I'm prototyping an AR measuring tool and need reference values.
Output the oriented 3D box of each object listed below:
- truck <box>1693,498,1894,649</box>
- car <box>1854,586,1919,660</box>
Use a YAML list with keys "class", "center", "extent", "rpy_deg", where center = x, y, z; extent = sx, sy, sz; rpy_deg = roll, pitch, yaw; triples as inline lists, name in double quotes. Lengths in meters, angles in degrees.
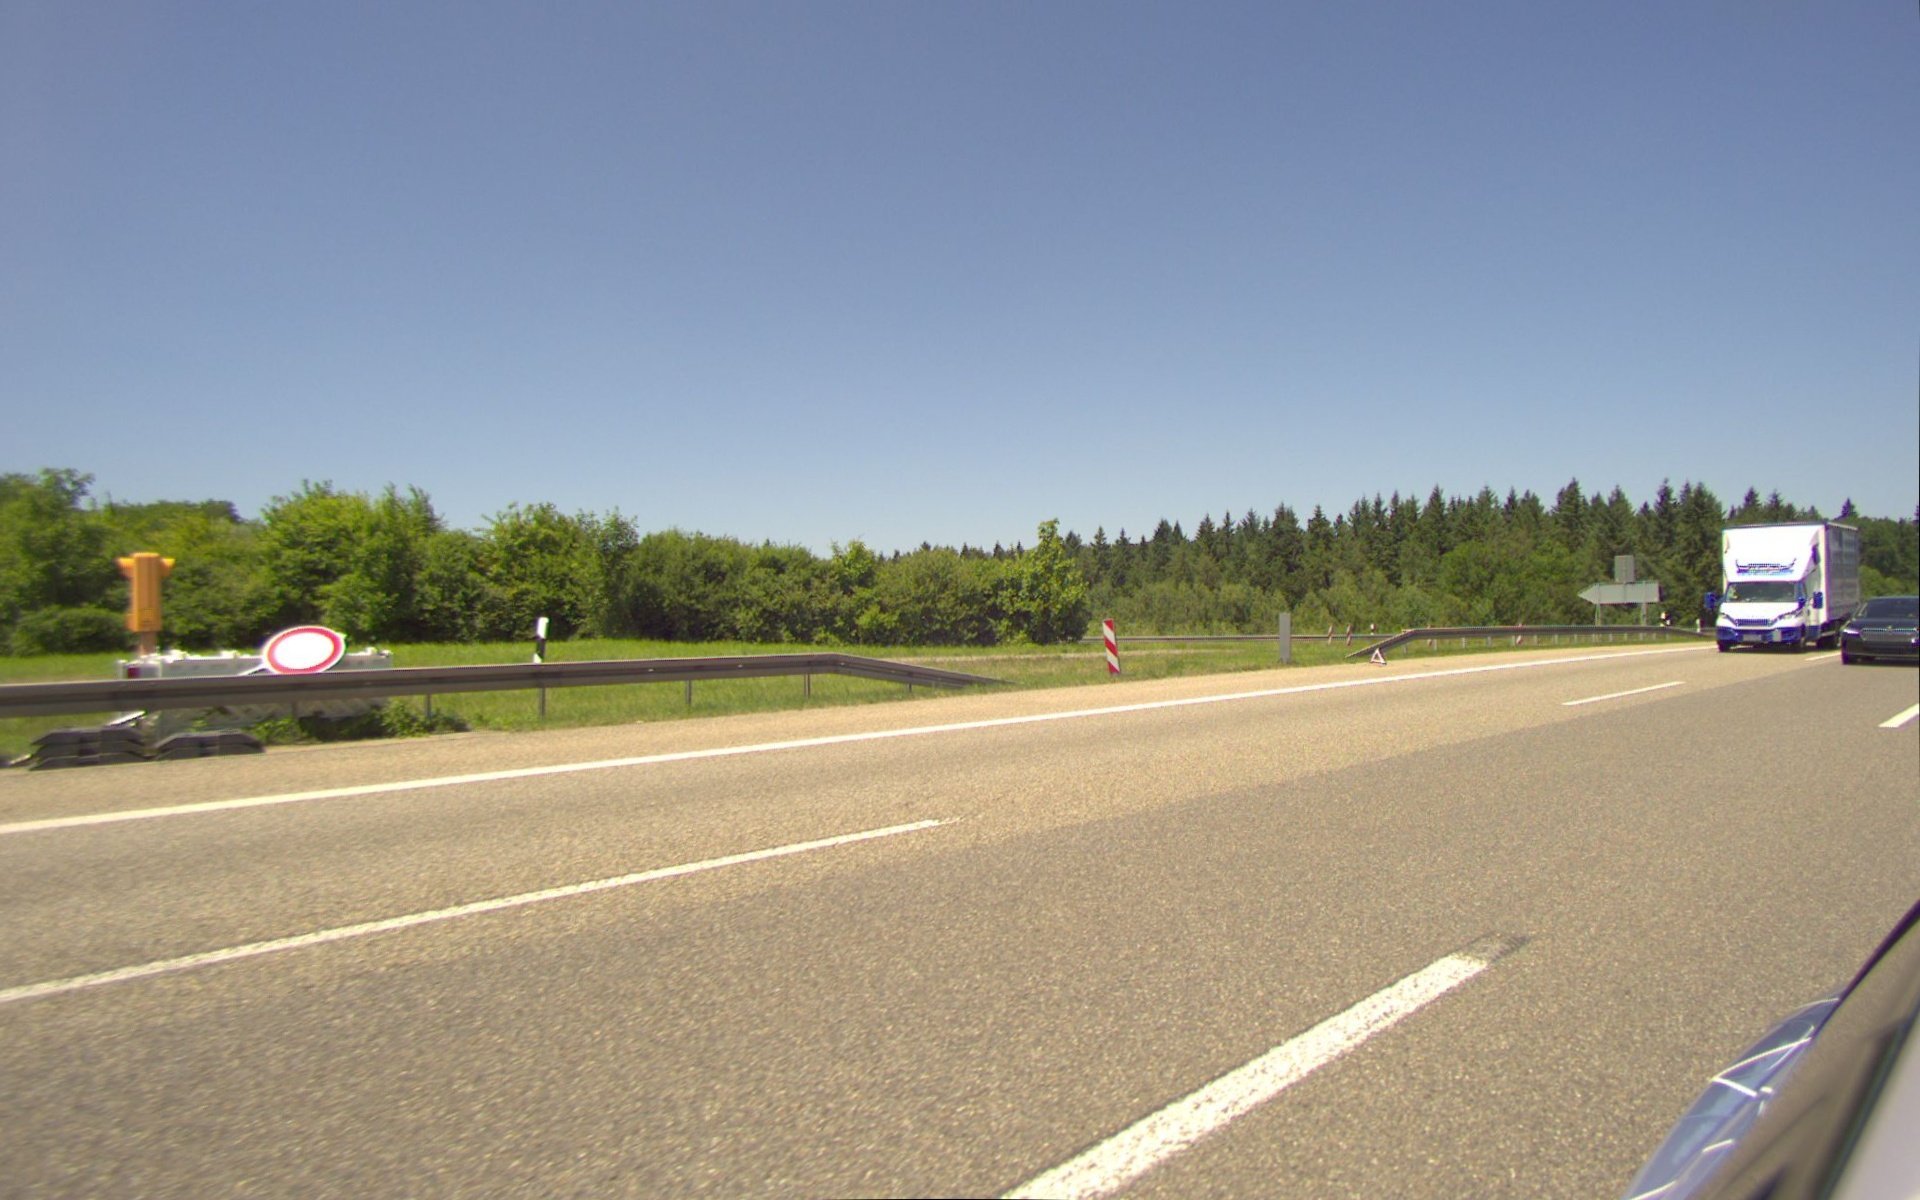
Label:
- class: "truck"
  center: [26.706, -0.739, 32.212]
  extent: [9.563, 4.182, 2.789]
  rpy_deg: [-1, -2, -38]
- class: "car"
  center: [22.992, 0.551, 24.082]
  extent: [4.378, 1.640, 1.988]
  rpy_deg: [2, -1, -40]
